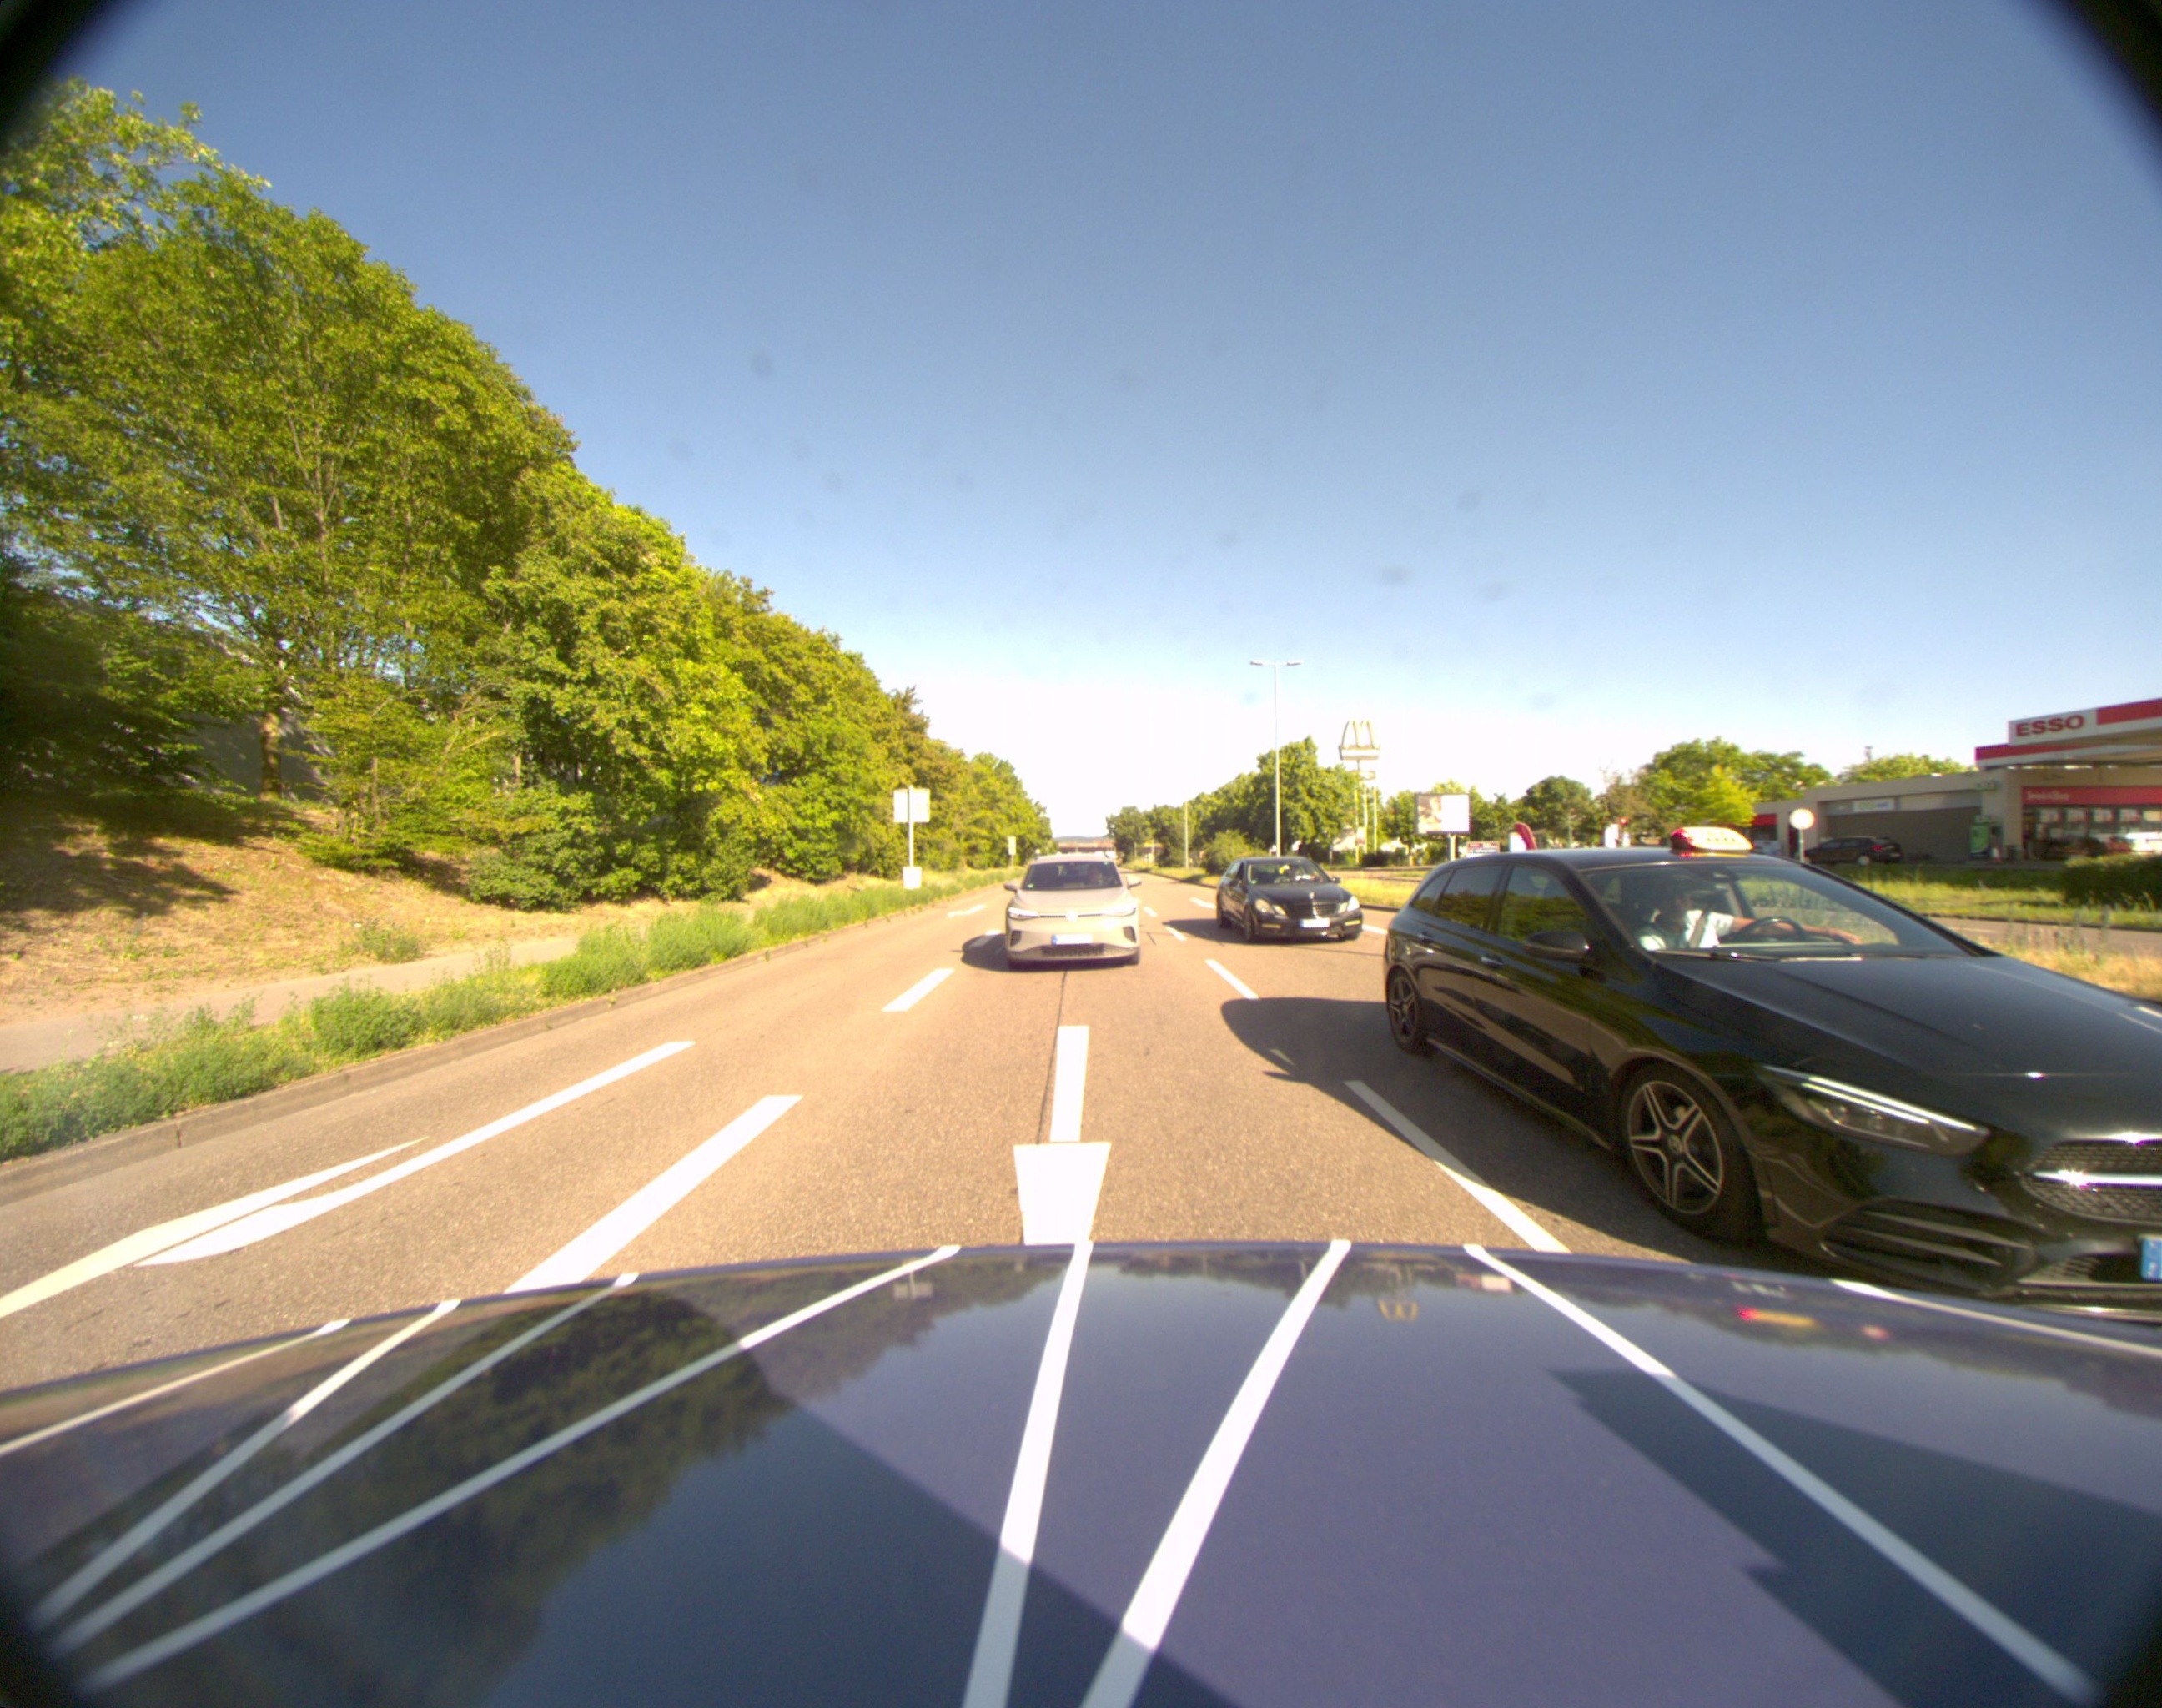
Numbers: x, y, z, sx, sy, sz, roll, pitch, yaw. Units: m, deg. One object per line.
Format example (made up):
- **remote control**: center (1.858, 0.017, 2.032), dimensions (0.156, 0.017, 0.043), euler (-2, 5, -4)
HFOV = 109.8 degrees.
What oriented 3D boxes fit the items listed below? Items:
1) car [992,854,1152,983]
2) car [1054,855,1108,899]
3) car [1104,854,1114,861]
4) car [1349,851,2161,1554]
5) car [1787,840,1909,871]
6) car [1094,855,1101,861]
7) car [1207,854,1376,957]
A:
- **car**: center (-0.088, 0.845, 11.923), dimensions (2.025, 1.601, 4.098), euler (-2, 0, 1)
- **car**: center (0.027, 0.887, 31.186), dimensions (2.036, 1.601, 4.098), euler (-2, 0, 1)
- **car**: center (5.893, 0.824, 160.206), dimensions (1.998, 1.433, 4.000), euler (-1, 0, 1)
- **car**: center (3.160, 0.810, 4.058), dimensions (1.788, 1.592, 4.583), euler (-2, 0, 0)
- **car**: center (37.750, 0.075, 37.540), dimensions (1.998, 1.397, 4.000), euler (-1, 0, 0)
- **car**: center (4.482, 1.075, 205.195), dimensions (1.998, 1.433, 4.000), euler (-1, 0, 1)
- **car**: center (3.713, 0.822, 14.303), dimensions (1.953, 1.501, 4.462), euler (-2, 1, 1)
